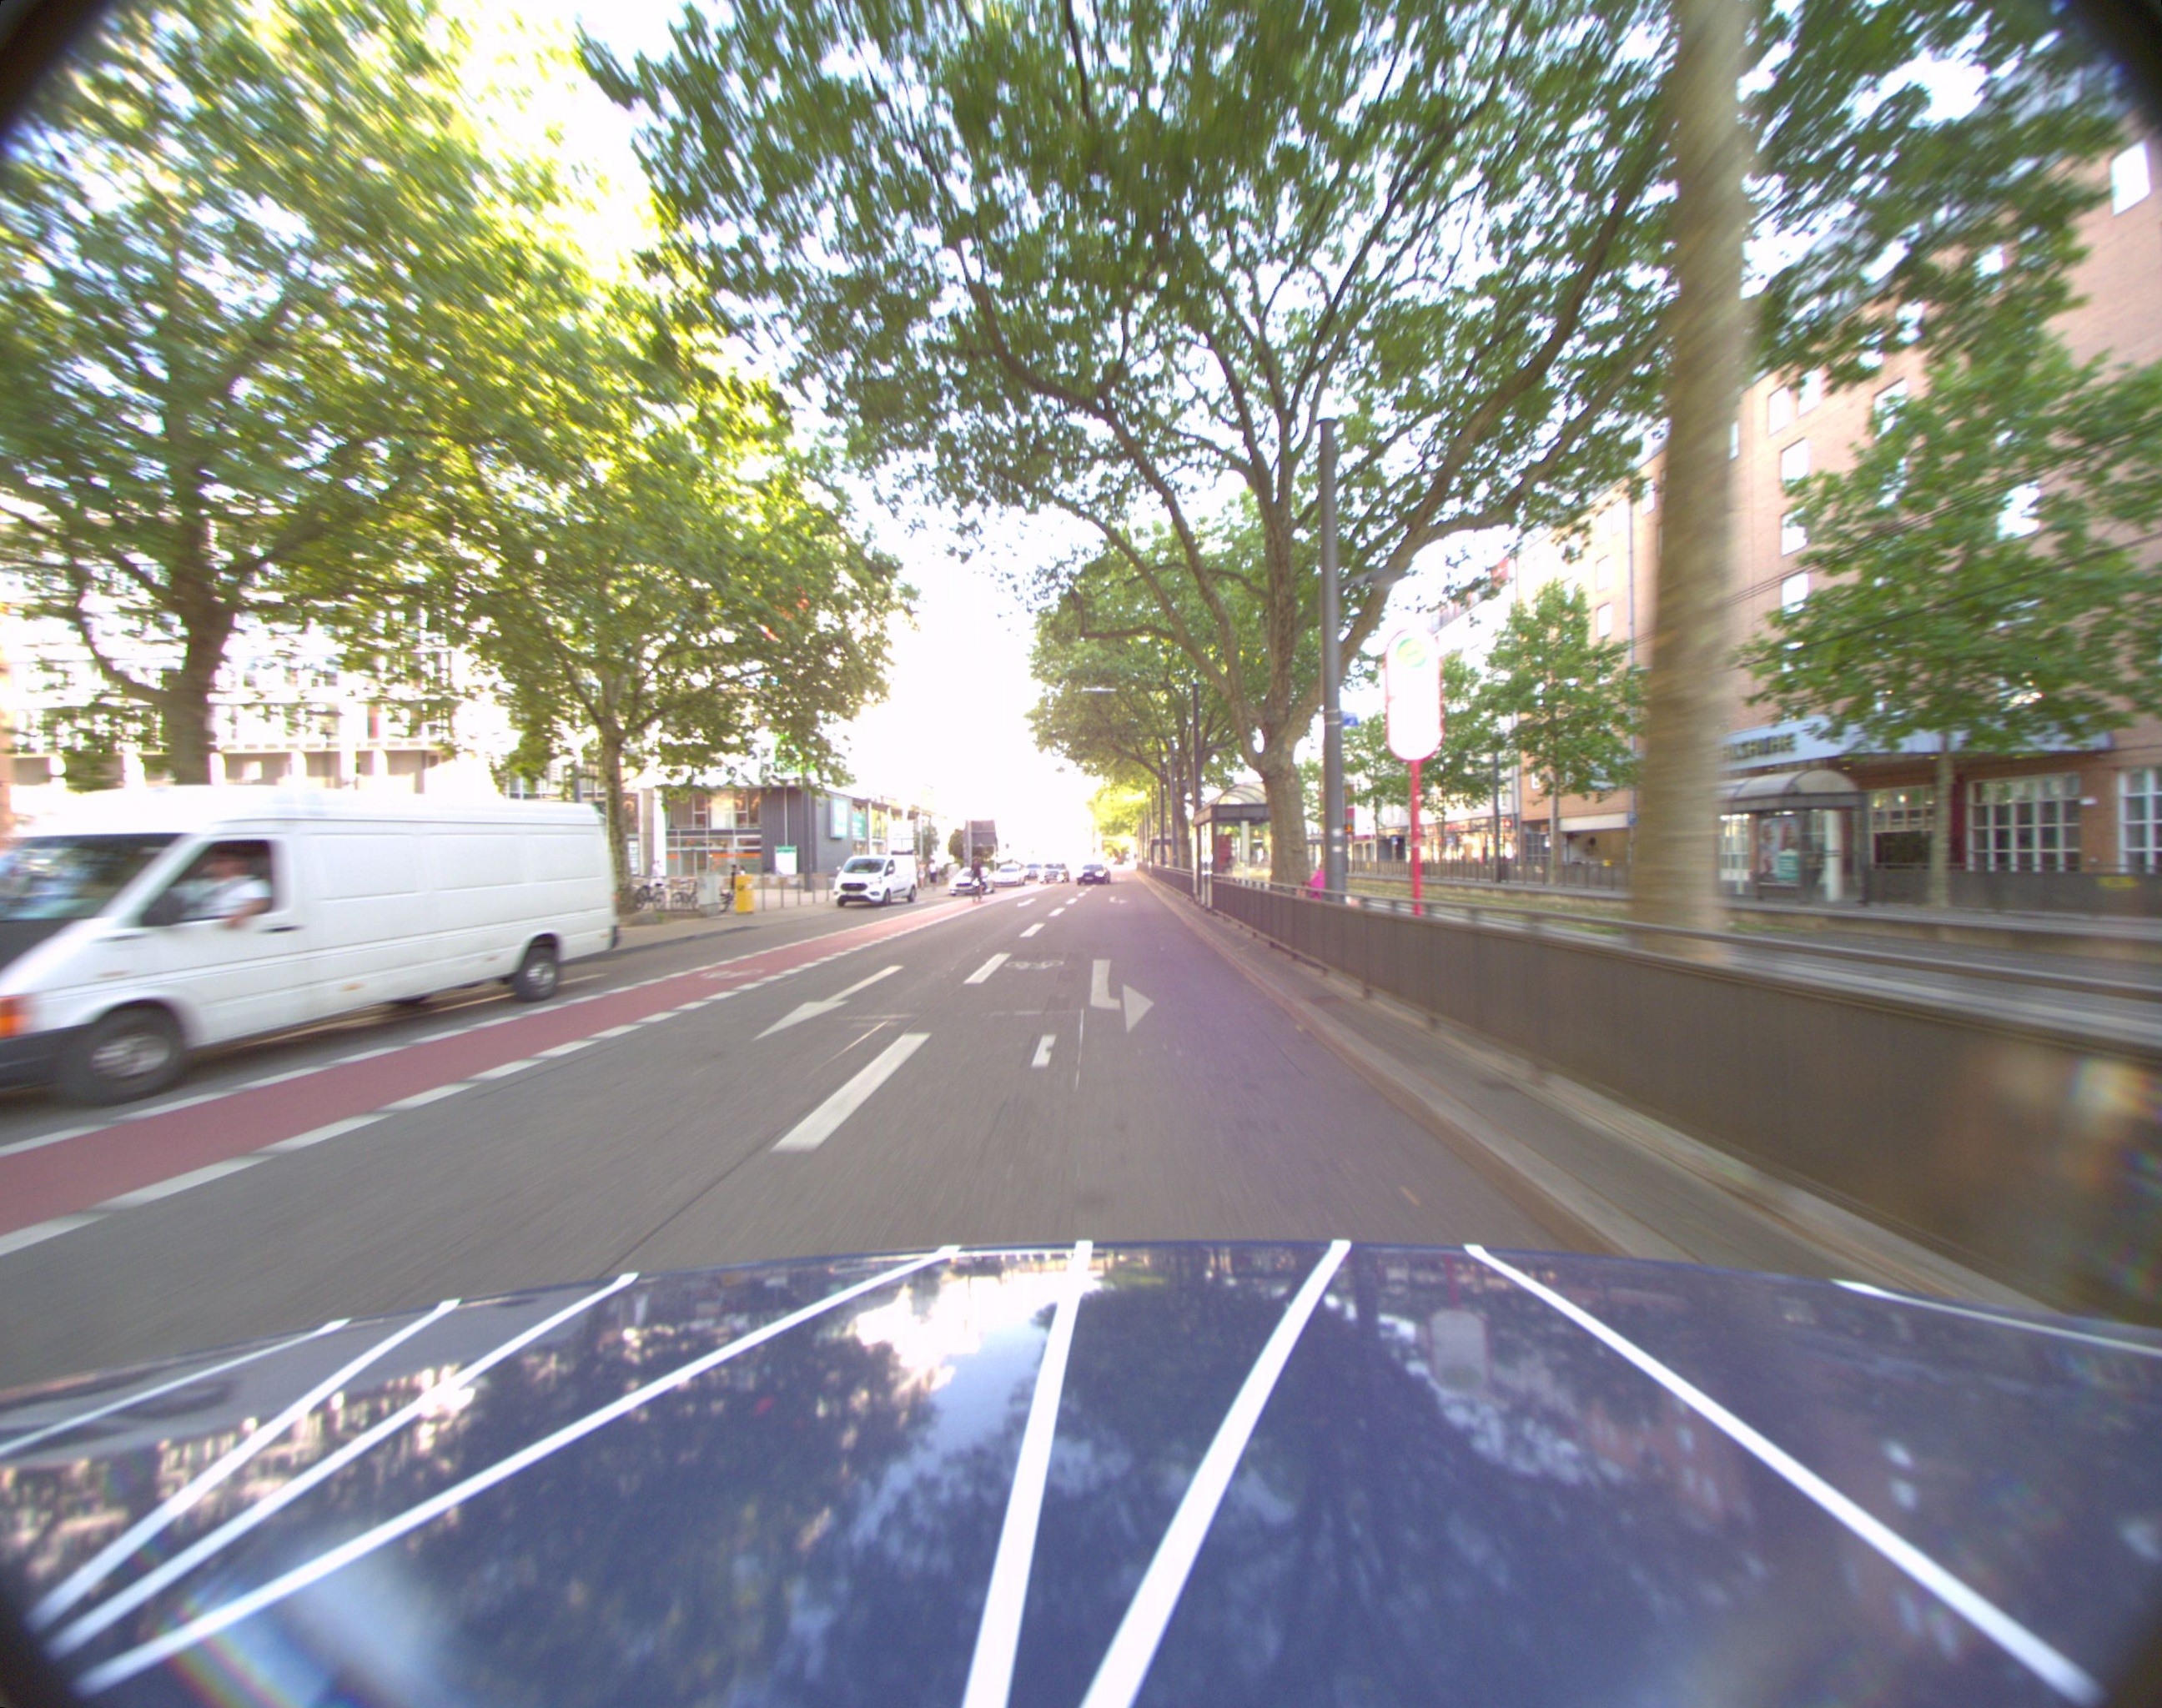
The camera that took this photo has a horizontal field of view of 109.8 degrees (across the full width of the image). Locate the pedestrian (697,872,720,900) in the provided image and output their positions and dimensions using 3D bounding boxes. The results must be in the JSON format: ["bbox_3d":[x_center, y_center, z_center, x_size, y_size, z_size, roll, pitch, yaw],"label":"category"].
[{"bbox_3d":[-16.513,1.395,33.683,0.615,1.214,0.678,0,0,6],"label":"pedestrian"}]

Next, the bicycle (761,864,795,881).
[{"bbox_3d":[-19.450,1.172,48.725,1.879,1.057,0.700,0,0,2],"label":"bicycle"}]

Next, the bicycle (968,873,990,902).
[{"bbox_3d":[-4.234,1.358,31.595,0.551,1.114,2.127,0,0,2],"label":"bicycle"}]

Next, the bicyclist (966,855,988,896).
[{"bbox_3d":[-4.326,0.897,31.654,0.752,1.678,0.714,0,0,2],"label":"bicyclist"}]

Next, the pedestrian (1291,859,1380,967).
[{"bbox_3d":[3.478,0.784,10.434,0.979,1.392,0.664,-2,1,5],"label":"pedestrian"}]

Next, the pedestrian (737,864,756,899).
[{"bbox_3d":[-14.938,1.221,33.953,0.516,1.514,0.636,0,0,9],"label":"pedestrian"}]

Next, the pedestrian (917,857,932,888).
[{"bbox_3d":[-9.141,1.079,44.416,0.591,1.798,0.896,0,1,3],"label":"pedestrian"}]

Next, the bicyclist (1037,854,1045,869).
[{"bbox_3d":[-4.691,0.906,88.953,0.743,1.752,1.209,2,1,3],"label":"bicyclist"}]

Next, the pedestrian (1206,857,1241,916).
[{"bbox_3d":[3.481,0.789,18.645,0.735,1.379,0.640,-2,1,5],"label":"pedestrian"}]

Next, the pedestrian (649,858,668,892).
[{"bbox_3d":[-21.250,1.055,38.225,0.539,1.666,0.723,0,0,3],"label":"pedestrian"}]

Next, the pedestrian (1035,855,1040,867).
[{"bbox_3d":[-5.915,0.929,103.366,0.692,1.573,0.664,1,1,4],"label":"pedestrian"}]

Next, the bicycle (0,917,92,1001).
[{"bbox_3d":[-14.637,1.434,10.138,0.596,1.040,1.656,-1,0,8],"label":"bicycle"}]

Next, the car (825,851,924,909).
[{"bbox_3d":[-8.254,0.970,30.943,2.127,2.121,5.291,-1,0,6],"label":"car"}]

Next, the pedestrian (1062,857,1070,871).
[{"bbox_3d":[-1.362,0.881,69.005,0.665,1.218,0.775,-1,0,3],"label":"pedestrian"}]

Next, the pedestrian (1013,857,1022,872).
[{"bbox_3d":[-6.661,1.133,79.817,0.753,1.565,0.912,-1,0,5],"label":"pedestrian"}]

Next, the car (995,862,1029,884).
[{"bbox_3d":[-4.807,1.299,53.569,1.670,1.455,3.871,-1,0,6],"label":"car"}]

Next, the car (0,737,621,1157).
[{"bbox_3d":[-7.882,0.632,7.840,1.998,2.708,6.562,-2,0,2],"label":"car"}]

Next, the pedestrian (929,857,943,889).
[{"bbox_3d":[-8.458,1.104,44.367,0.564,1.798,0.891,0,1,3],"label":"pedestrian"}]

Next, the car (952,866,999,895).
[{"bbox_3d":[-5.692,1.419,41.349,1.785,1.411,4.022,-1,0,3],"label":"car"}]

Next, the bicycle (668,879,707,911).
[{"bbox_3d":[-13.629,1.399,26.359,0.460,1.023,1.628,-1,0,2],"label":"bicycle"}]

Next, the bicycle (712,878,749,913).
[{"bbox_3d":[-12.097,1.418,26.267,0.514,1.151,1.539,-1,0,2],"label":"bicycle"}]

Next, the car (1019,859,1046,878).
[{"bbox_3d":[-4.317,1.248,67.946,1.998,1.586,4.001,-1,0,3],"label":"car"}]

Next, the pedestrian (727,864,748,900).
[{"bbox_3d":[-15.018,1.232,33.237,0.577,1.534,0.638,0,0,9],"label":"pedestrian"}]

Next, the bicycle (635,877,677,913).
[{"bbox_3d":[-14.880,1.401,26.642,0.460,1.172,1.719,0,0,2],"label":"bicycle"}]

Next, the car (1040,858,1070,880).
[{"bbox_3d":[-1.935,1.119,57.715,1.785,1.628,4.023,-1,0,5],"label":"car"}]

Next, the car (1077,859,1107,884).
[{"bbox_3d":[0.724,1.109,49.535,1.827,1.416,4.346,-2,0,1],"label":"car"}]

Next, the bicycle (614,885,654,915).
[{"bbox_3d":[-15.655,1.586,26.618,0.460,0.953,1.510,0,0,2],"label":"bicycle"}]
